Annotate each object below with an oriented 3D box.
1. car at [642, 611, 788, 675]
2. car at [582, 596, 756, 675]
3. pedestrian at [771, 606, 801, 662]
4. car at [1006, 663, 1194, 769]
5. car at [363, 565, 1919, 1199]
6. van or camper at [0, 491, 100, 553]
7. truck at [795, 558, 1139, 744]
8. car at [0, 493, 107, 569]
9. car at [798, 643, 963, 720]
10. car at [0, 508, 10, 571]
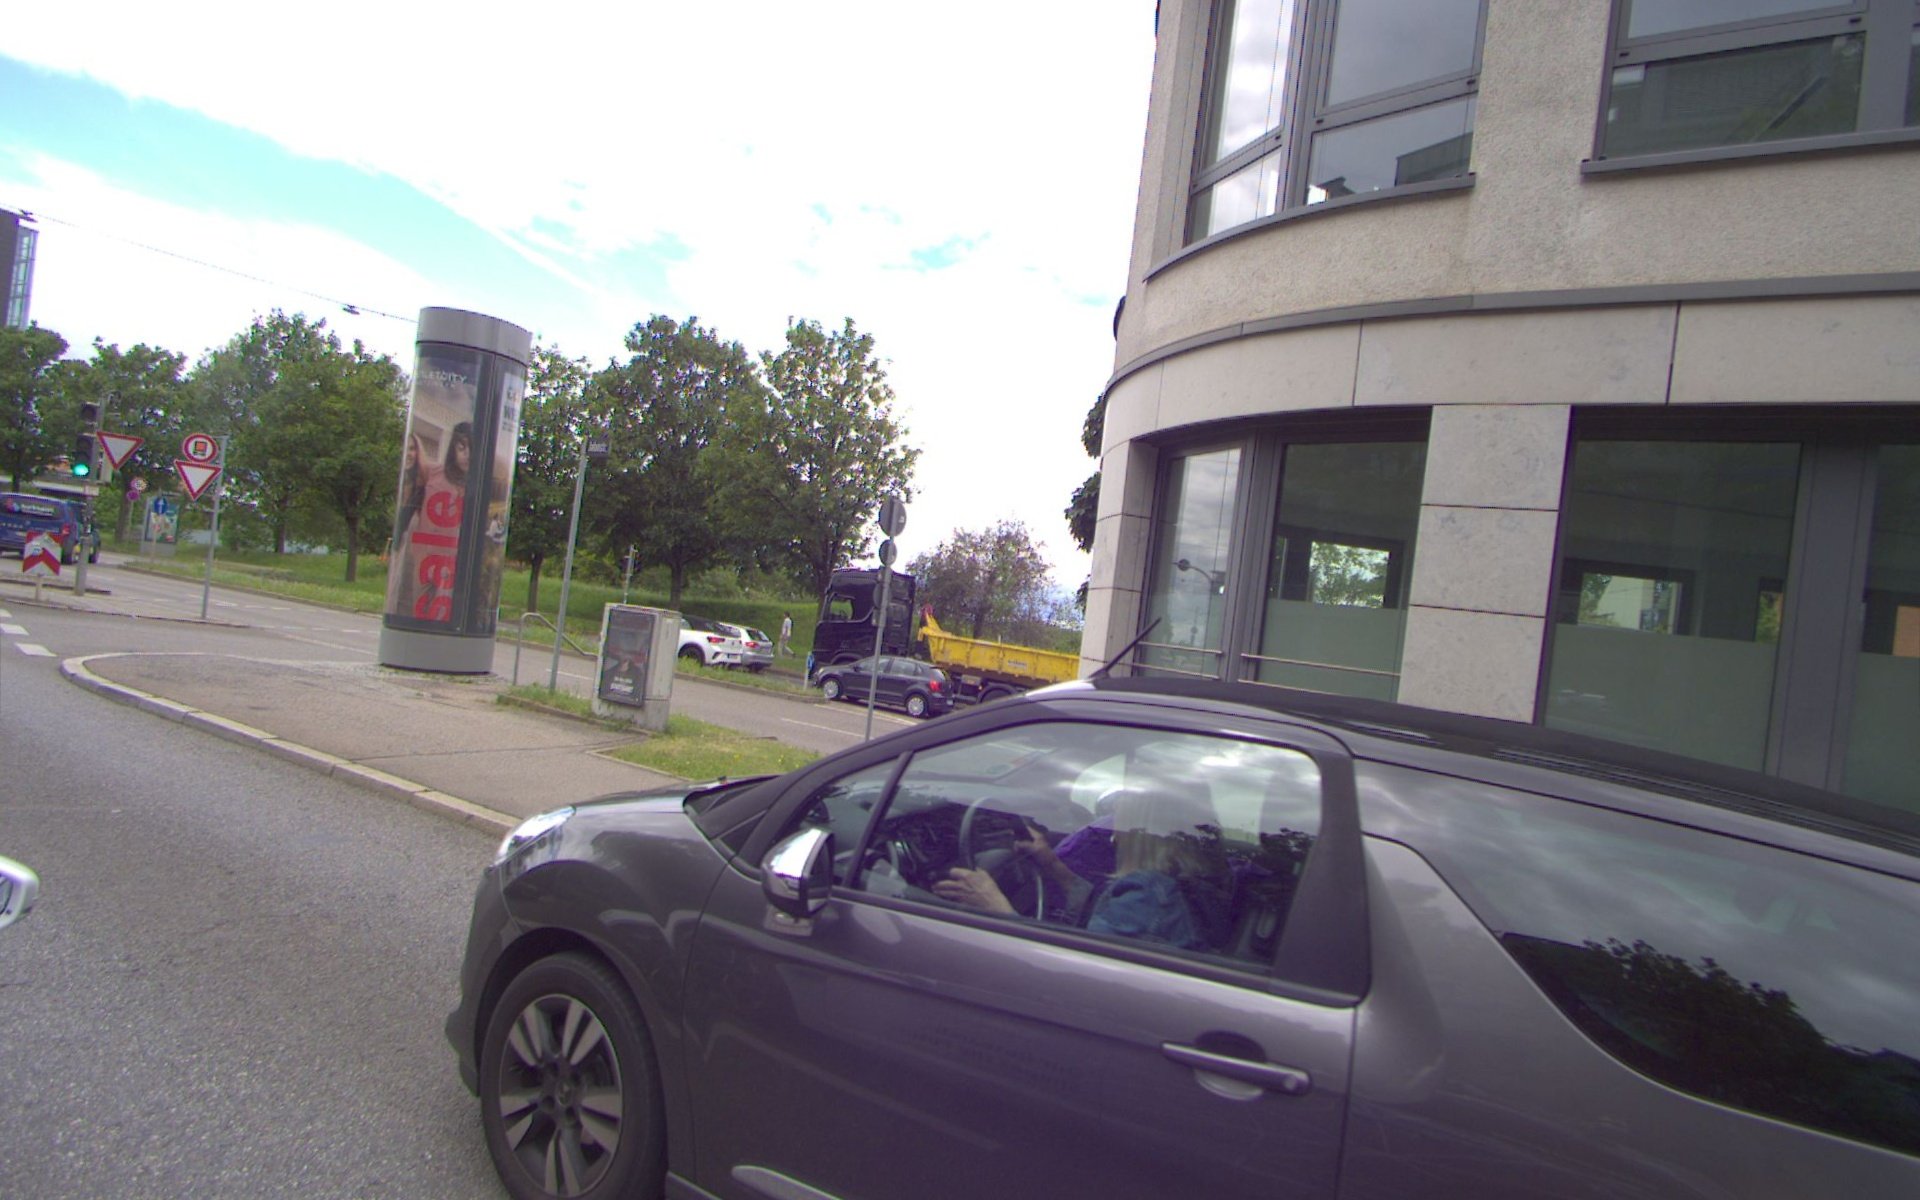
[{"bbox_3d":[-7.979,1.399,32.816,4.081,1.458,1.992,7,-2,19],"label":"car"},{"bbox_3d":[-8.431,1.034,29.189,4.404,1.547,1.858,8,-2,19],"label":"car"},{"bbox_3d":[-6.562,1.281,37.988,0.743,1.943,0.586,9,4,-2],"label":"pedestrian"},{"bbox_3d":[3.488,2.818,24.875,4.206,1.817,1.758,8,-2,17],"label":"car"},{"bbox_3d":[0.646,0.932,2.349,3.994,1.477,1.705,7,-2,31],"label":"car"},{"bbox_3d":[-38.076,-3.259,41.955,4.336,1.940,1.997,8,-1,32],"label":"van or camper"},{"bbox_3d":[0.192,1.430,29.584,9.280,3.969,2.832,7,-2,18],"label":"truck"},{"bbox_3d":[-27.744,-2.044,30.561,1.890,1.880,4.672,9,-3,-31],"label":"car"},{"bbox_3d":[-2.116,2.162,26.797,3.903,1.389,1.656,8,-2,19],"label":"car"},{"bbox_3d":[-22.767,-1.487,22.391,1.736,1.498,3.682,9,-2,-36],"label":"car"}]
